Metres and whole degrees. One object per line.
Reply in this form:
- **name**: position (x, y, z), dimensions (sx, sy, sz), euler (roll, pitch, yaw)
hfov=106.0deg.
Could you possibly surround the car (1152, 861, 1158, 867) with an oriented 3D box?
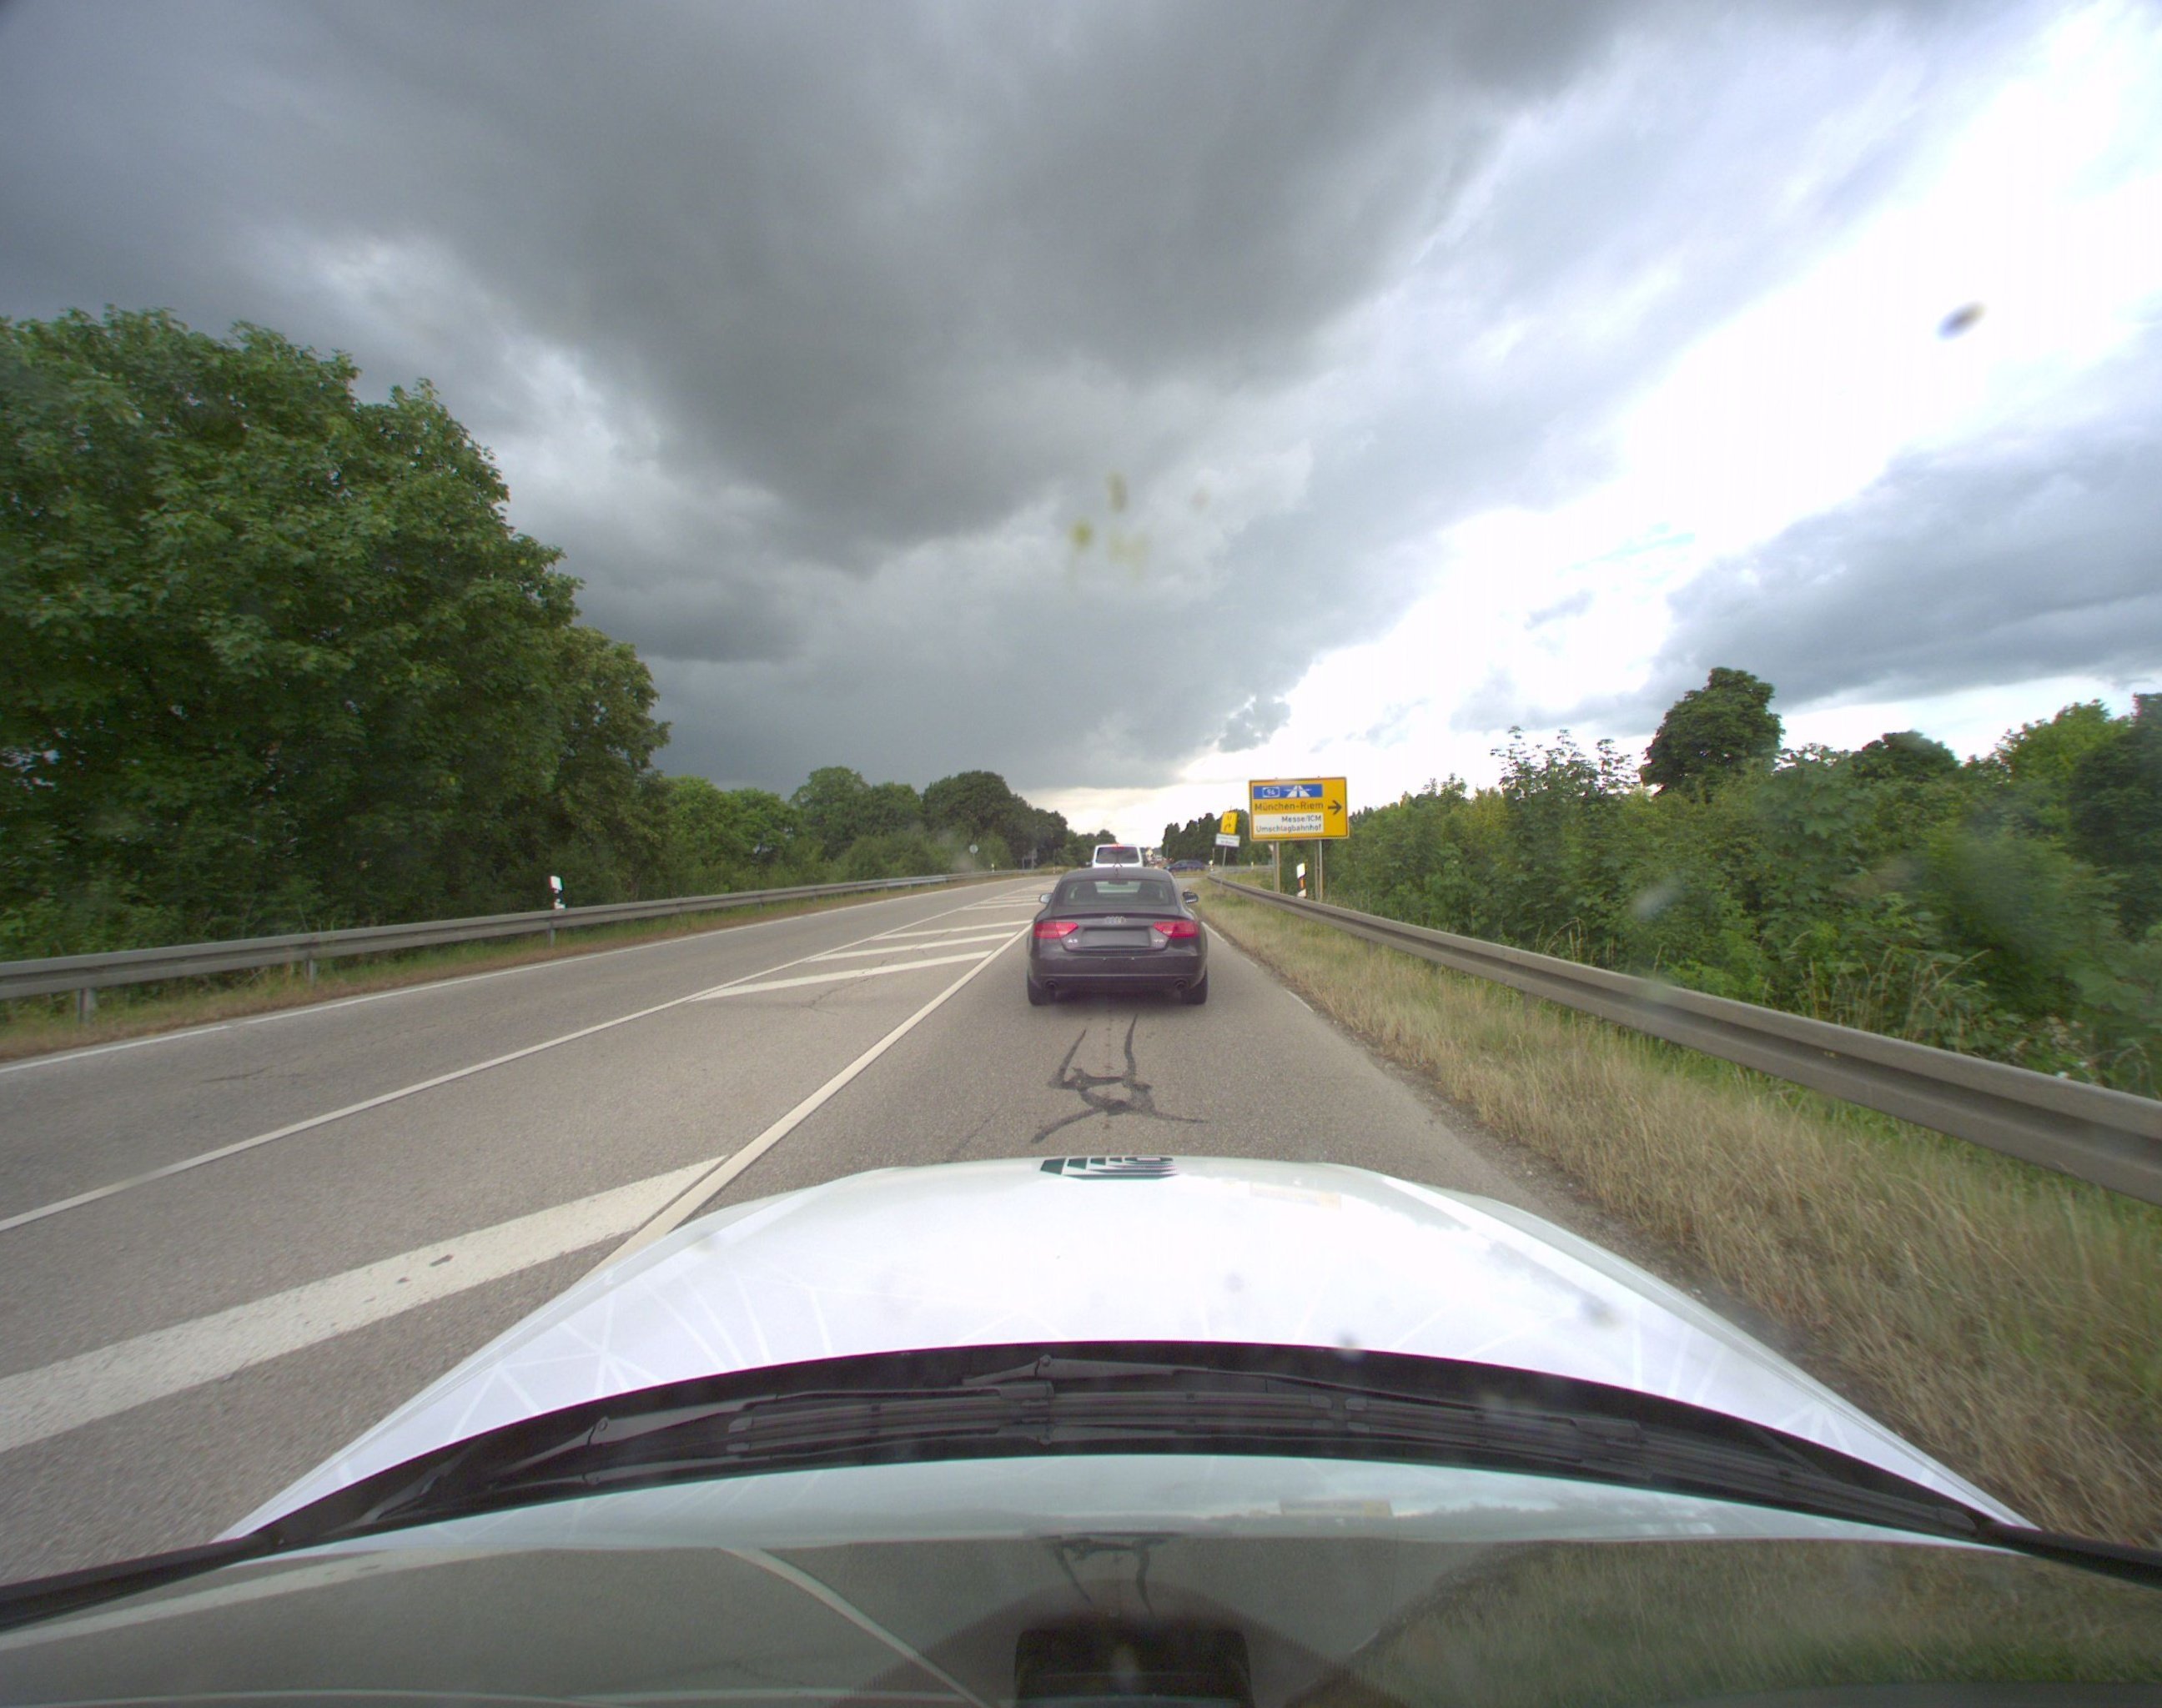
- **car**: position (23.536, 3.231, 259.683), dimensions (1.984, 1.692, 4.005), euler (-1, 0, 5)

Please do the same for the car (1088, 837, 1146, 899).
- **car**: position (1.260, 0.471, 28.723), dimensions (1.903, 2.013, 4.002), euler (0, 0, 2)

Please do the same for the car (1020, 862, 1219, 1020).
- **car**: position (0.402, 0.802, 9.029), dimensions (1.773, 1.399, 3.338), euler (-1, 0, 2)

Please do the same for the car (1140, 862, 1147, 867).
- **car**: position (16.862, 2.833, 219.844), dimensions (1.728, 1.454, 4.001), euler (0, 0, 1)
